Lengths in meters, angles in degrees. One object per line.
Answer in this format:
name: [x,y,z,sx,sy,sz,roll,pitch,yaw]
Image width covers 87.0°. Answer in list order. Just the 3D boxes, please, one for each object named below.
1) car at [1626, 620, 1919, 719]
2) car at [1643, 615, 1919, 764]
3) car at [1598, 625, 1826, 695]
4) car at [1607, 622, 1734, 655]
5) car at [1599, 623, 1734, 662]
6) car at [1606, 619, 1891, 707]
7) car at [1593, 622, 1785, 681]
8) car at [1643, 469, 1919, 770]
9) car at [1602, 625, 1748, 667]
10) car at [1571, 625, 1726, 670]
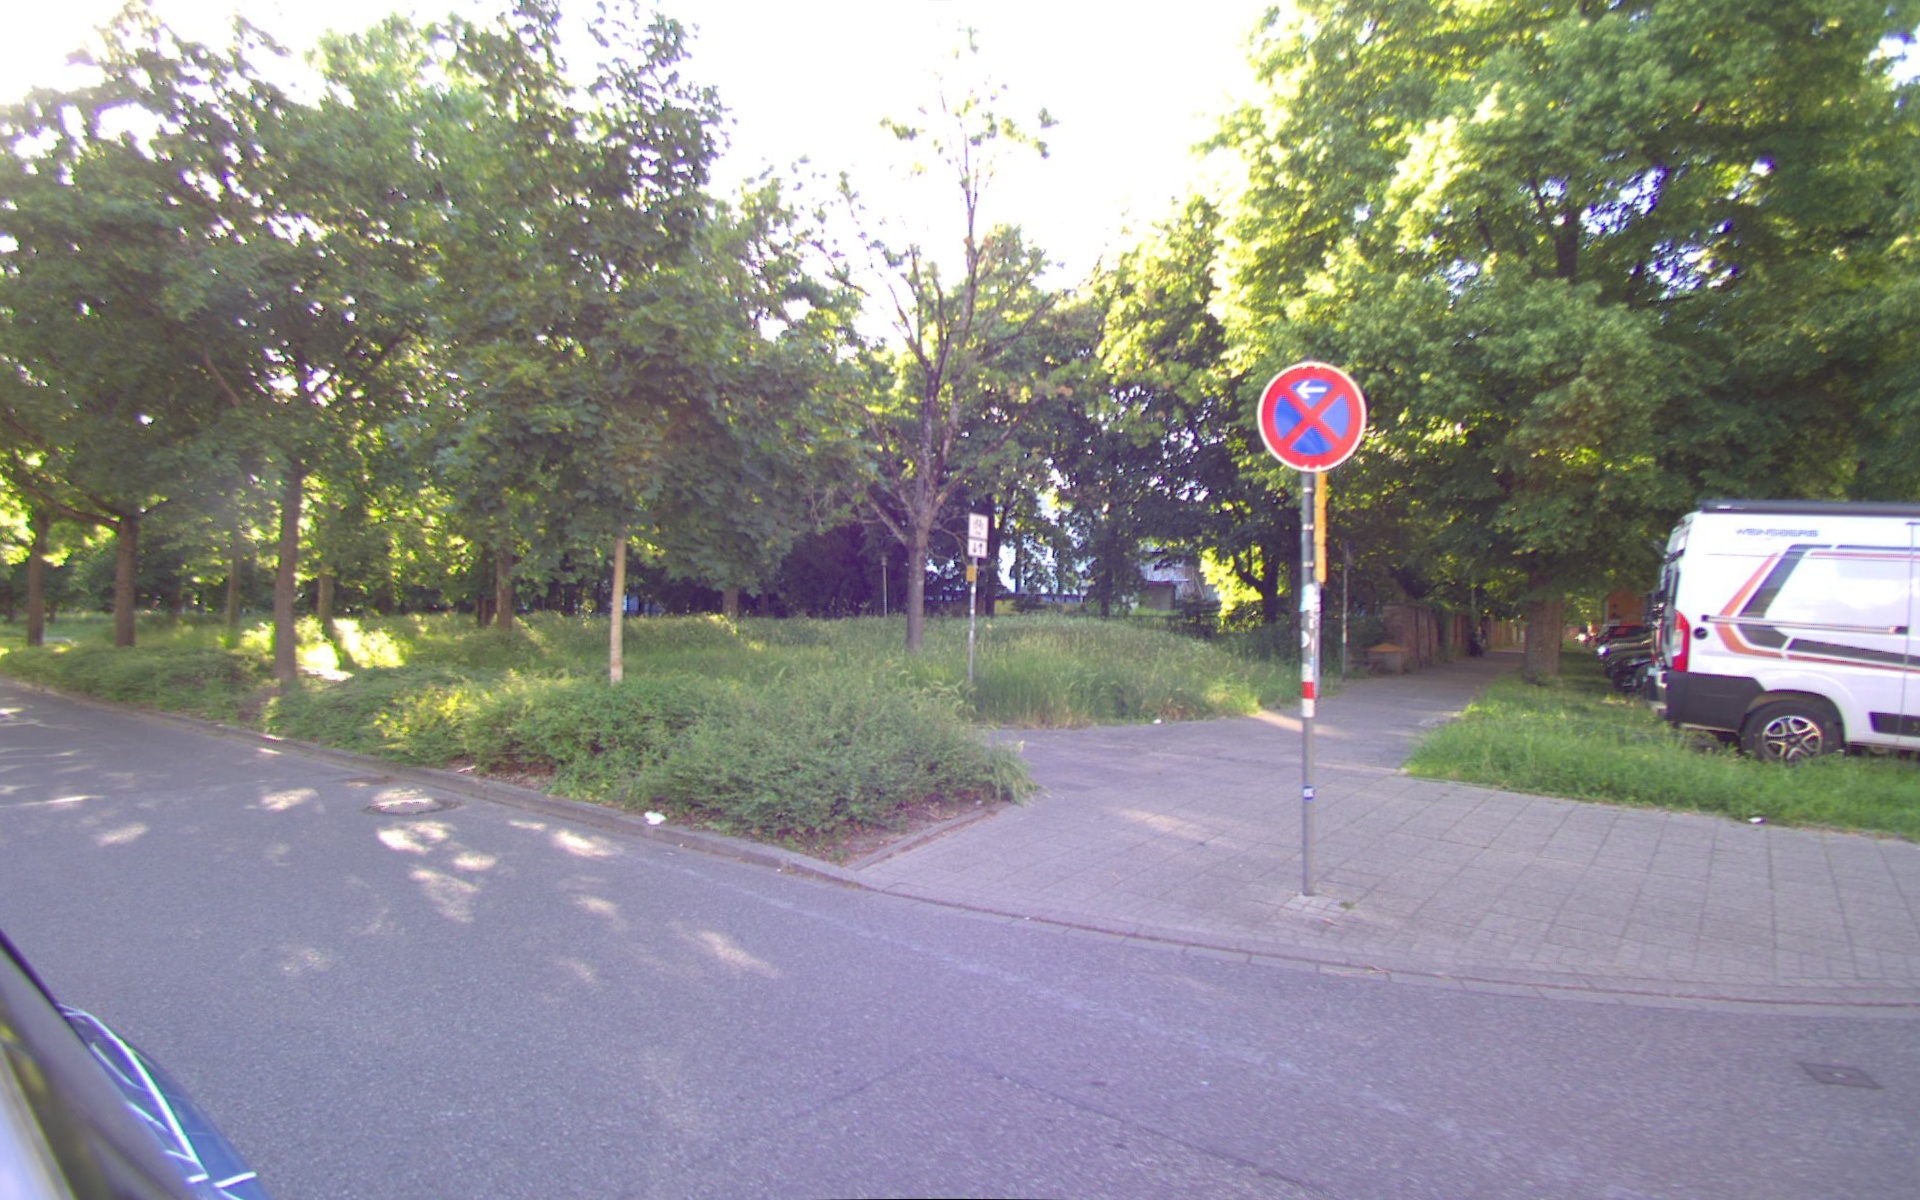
car: [12.909,1.023,15.997,3.866,1.352,1.958,0,-1,31]
car: [10.675,0.987,11.857,4.284,1.587,1.958,0,-1,31]
car: [16.612,1.276,22.631,3.866,1.388,1.958,0,-1,31]
car: [27.279,1.449,39.012,3.866,1.164,1.767,0,-1,31]
car: [25.555,1.510,36.791,3.866,1.266,1.767,0,-1,31]
car: [14.265,1.091,18.642,3.866,1.453,1.958,0,-2,31]
car: [18.778,1.285,26.311,3.866,1.388,1.958,0,-1,31]
car: [9.762,0.173,9.307,5.610,2.634,2.215,0,-1,31]
car: [24.087,1.515,34.265,3.866,1.266,1.767,0,-1,31]
car: [21.489,1.458,31.782,3.866,1.266,1.767,0,-1,31]
